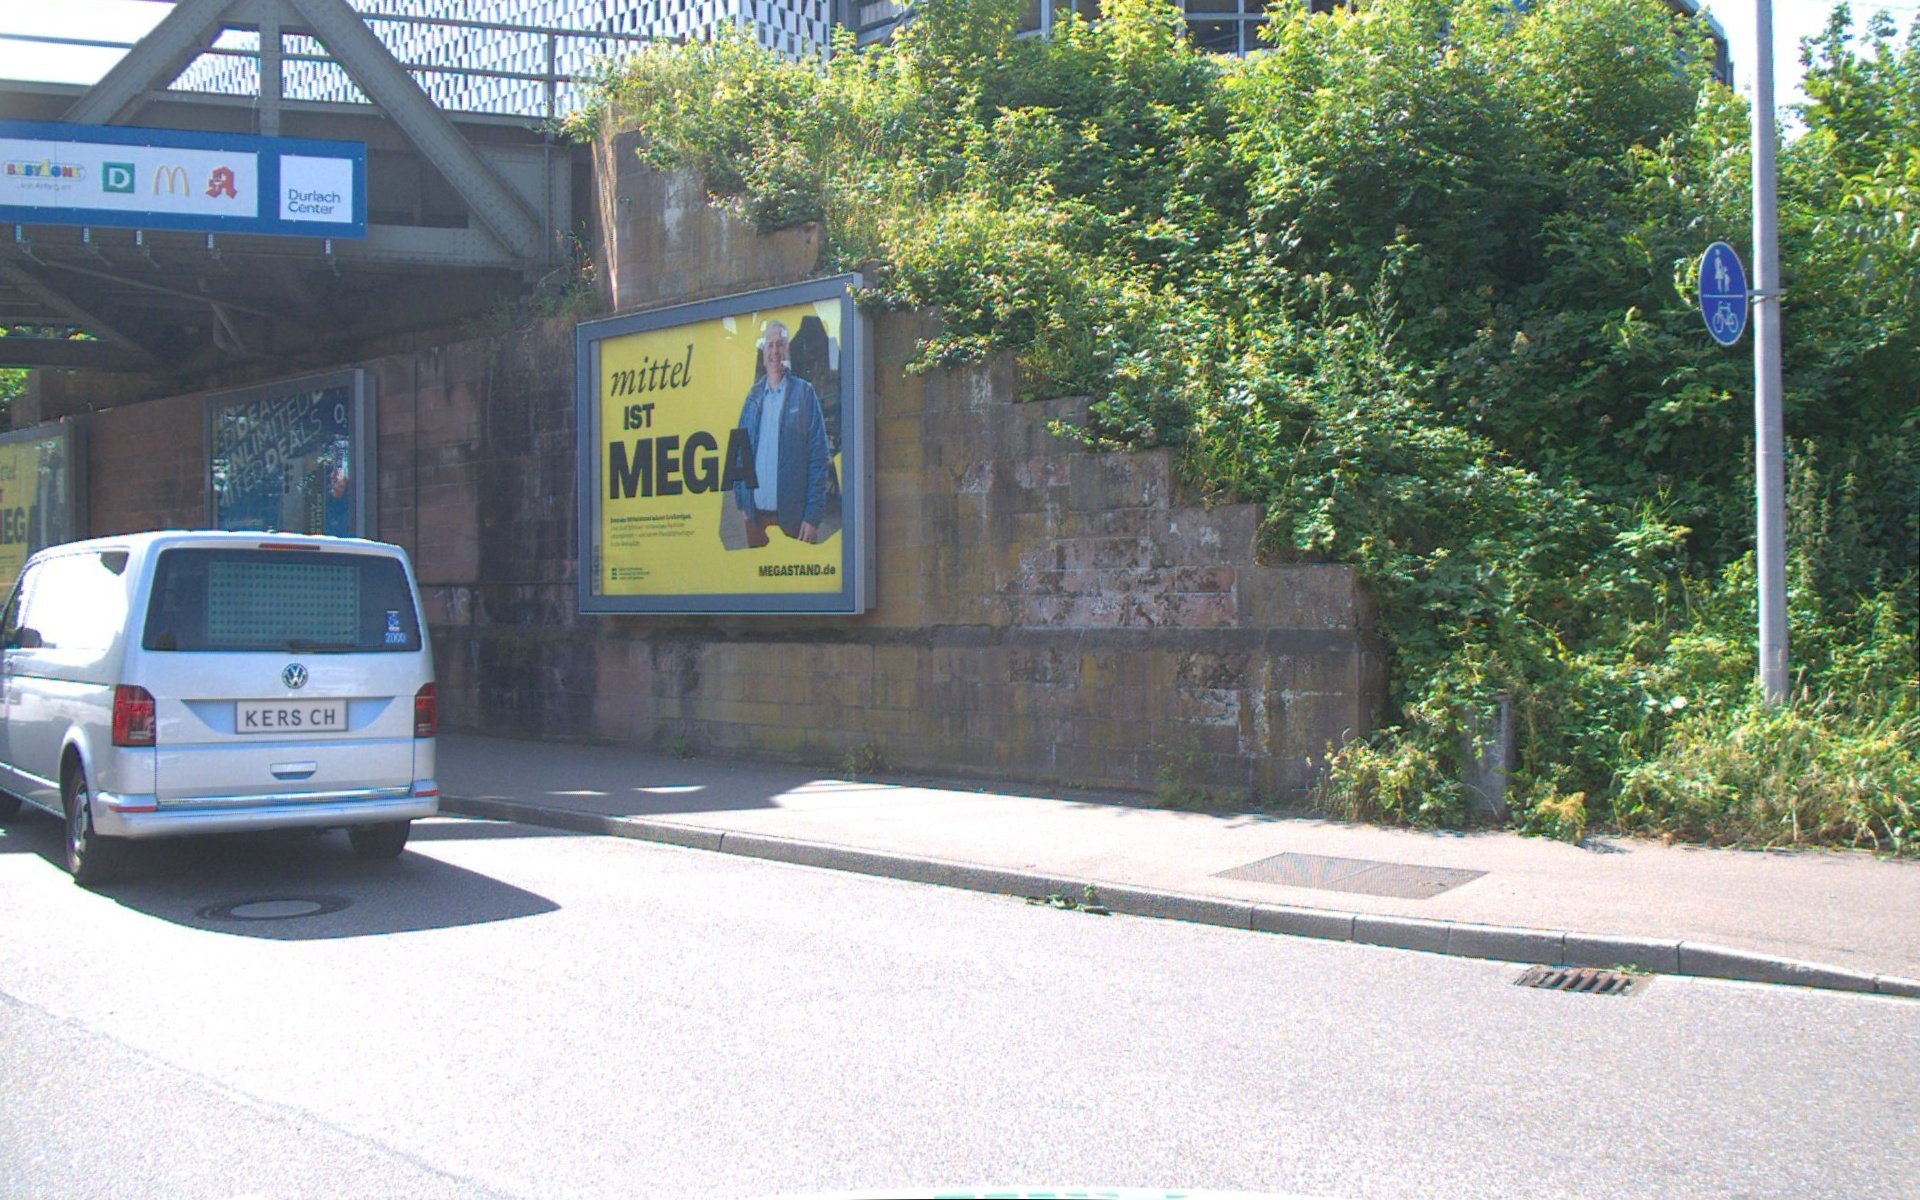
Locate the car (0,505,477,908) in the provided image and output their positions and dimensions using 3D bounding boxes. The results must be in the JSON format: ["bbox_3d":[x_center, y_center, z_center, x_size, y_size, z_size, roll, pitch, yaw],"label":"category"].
[{"bbox_3d":[-5.069,0.547,10.792,1.929,2.006,4.951,1,-1,-39],"label":"car"}]
